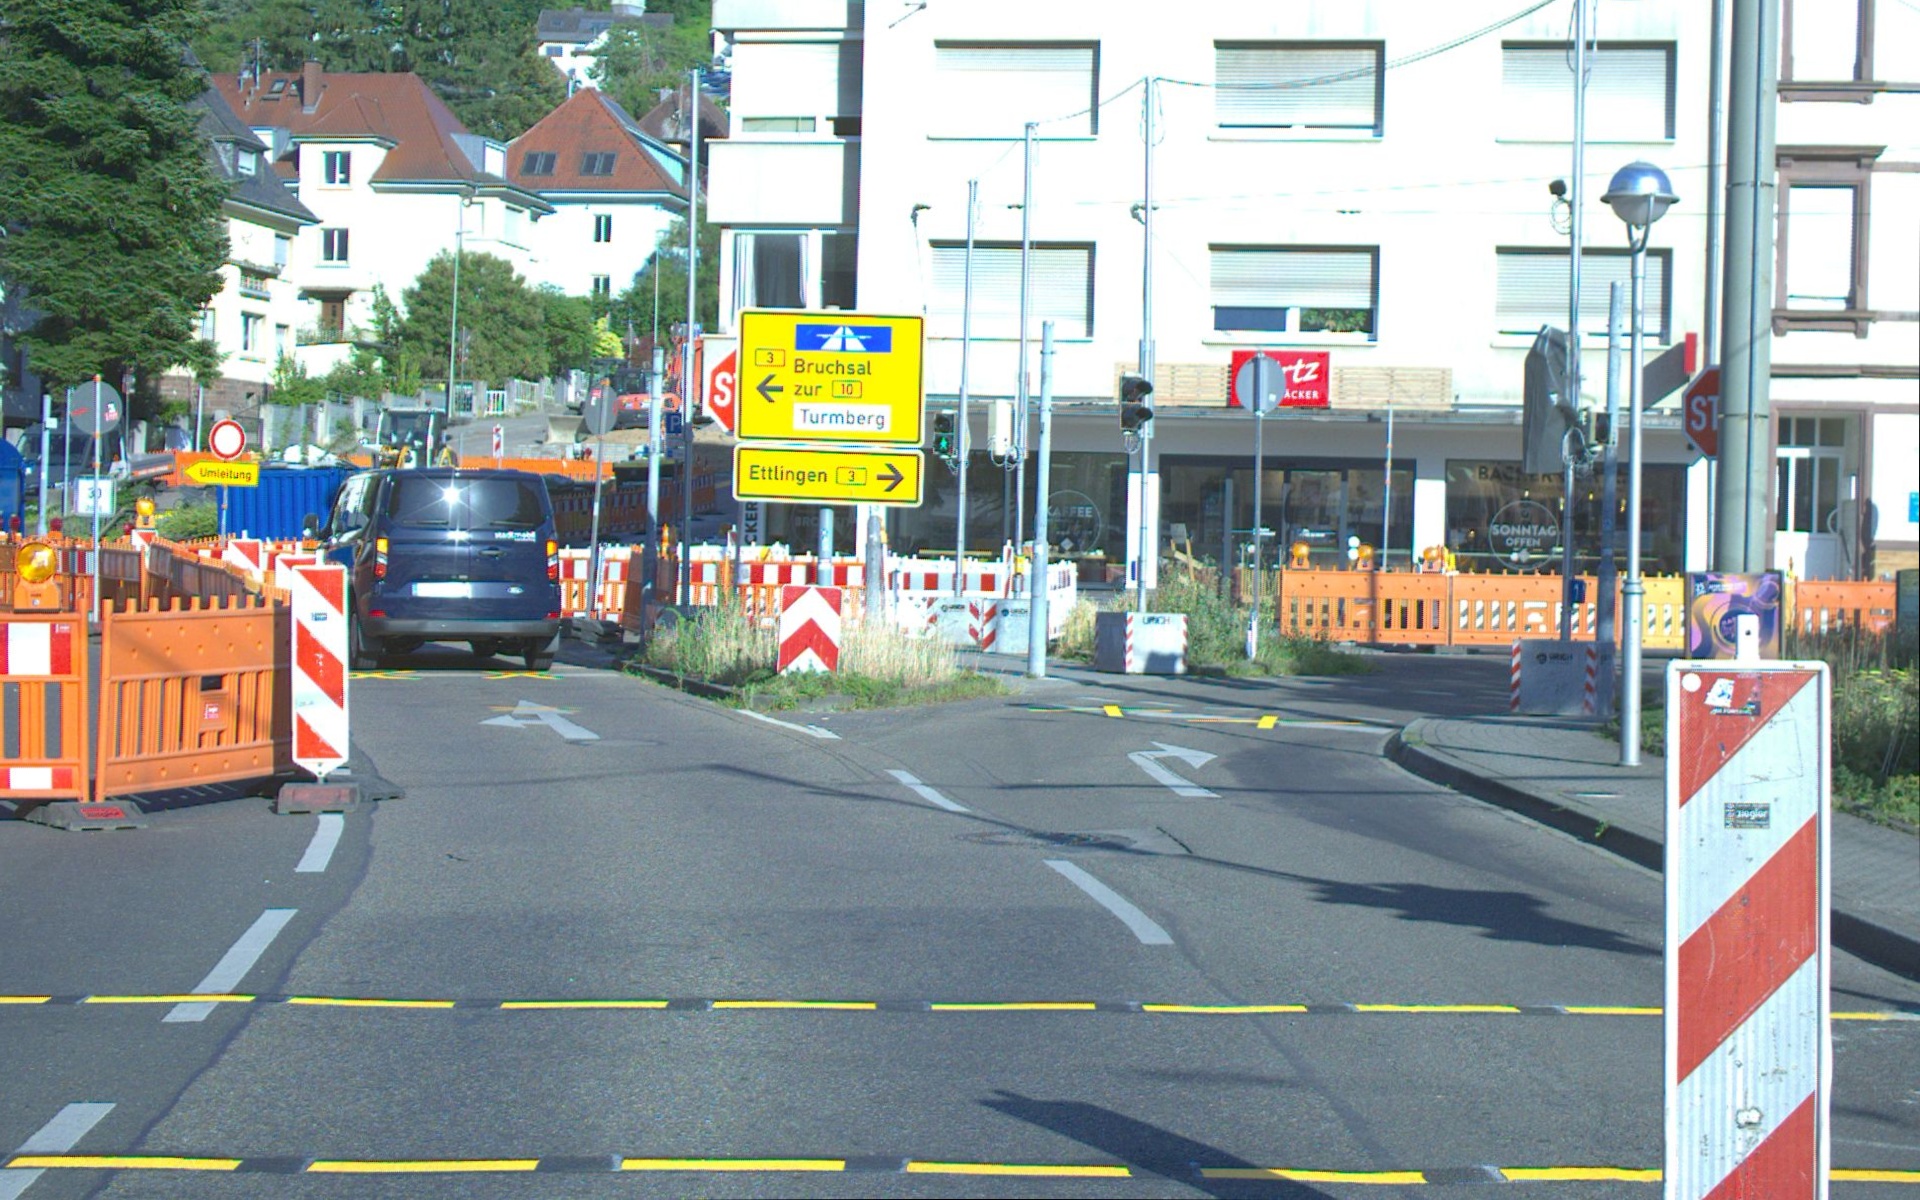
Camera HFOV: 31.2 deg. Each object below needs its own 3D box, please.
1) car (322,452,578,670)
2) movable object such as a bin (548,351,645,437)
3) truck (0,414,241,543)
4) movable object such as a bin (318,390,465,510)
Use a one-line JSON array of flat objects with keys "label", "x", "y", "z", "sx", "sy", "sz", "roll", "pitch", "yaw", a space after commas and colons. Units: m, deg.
[{"label": "car", "x": -5.287, "y": -0.465, "z": 35.088, "sx": 2.061, "sy": 2.006, "sz": 5.002, "roll": 2, "pitch": 2, "yaw": -14}, {"label": "movable object such as a bin", "x": -12.174, "y": -6.901, "z": 115.456, "sx": 2.191, "sy": 2.681, "sz": 3.998, "roll": 2, "pitch": 1, "yaw": 10}, {"label": "truck", "x": -17.614, "y": -2.417, "z": 70.353, "sx": 2.357, "sy": 2.407, "sz": 9.148, "roll": 2, "pitch": 1, "yaw": 10}, {"label": "movable object such as a bin", "x": -13.342, "y": -3.495, "z": 80.903, "sx": 2.191, "sy": 2.681, "sz": 3.998, "roll": 2, "pitch": 1, "yaw": 10}]
